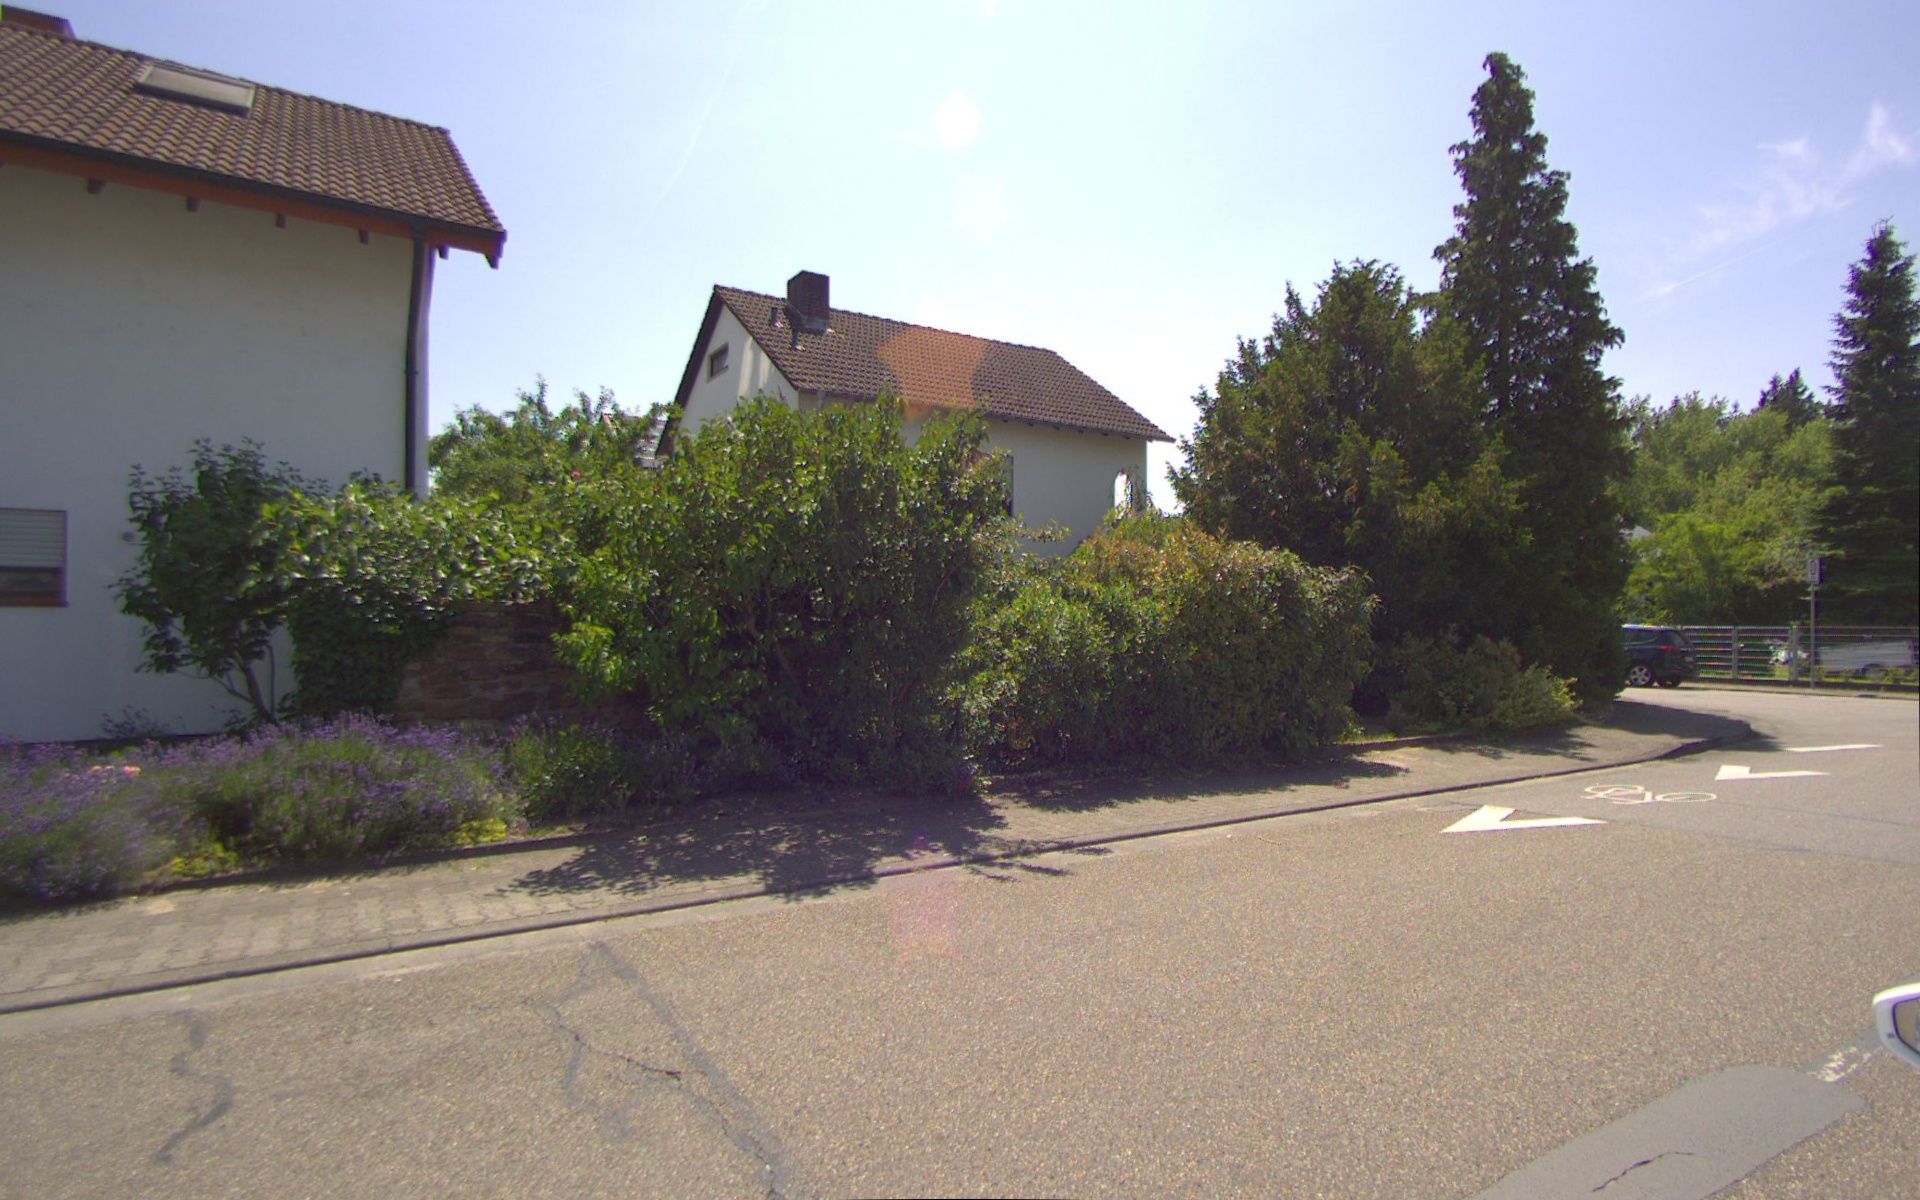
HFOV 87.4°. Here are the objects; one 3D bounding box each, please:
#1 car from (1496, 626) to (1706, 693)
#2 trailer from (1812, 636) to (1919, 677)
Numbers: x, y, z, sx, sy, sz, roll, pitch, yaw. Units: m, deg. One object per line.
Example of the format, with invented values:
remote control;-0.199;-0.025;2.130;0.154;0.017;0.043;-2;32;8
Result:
car;17.969;1.596;28.383;1.947;1.684;4.643;1;-1;-31
trailer;26.290;1.622;29.202;1.097;1.098;2.196;1;-1;-40
